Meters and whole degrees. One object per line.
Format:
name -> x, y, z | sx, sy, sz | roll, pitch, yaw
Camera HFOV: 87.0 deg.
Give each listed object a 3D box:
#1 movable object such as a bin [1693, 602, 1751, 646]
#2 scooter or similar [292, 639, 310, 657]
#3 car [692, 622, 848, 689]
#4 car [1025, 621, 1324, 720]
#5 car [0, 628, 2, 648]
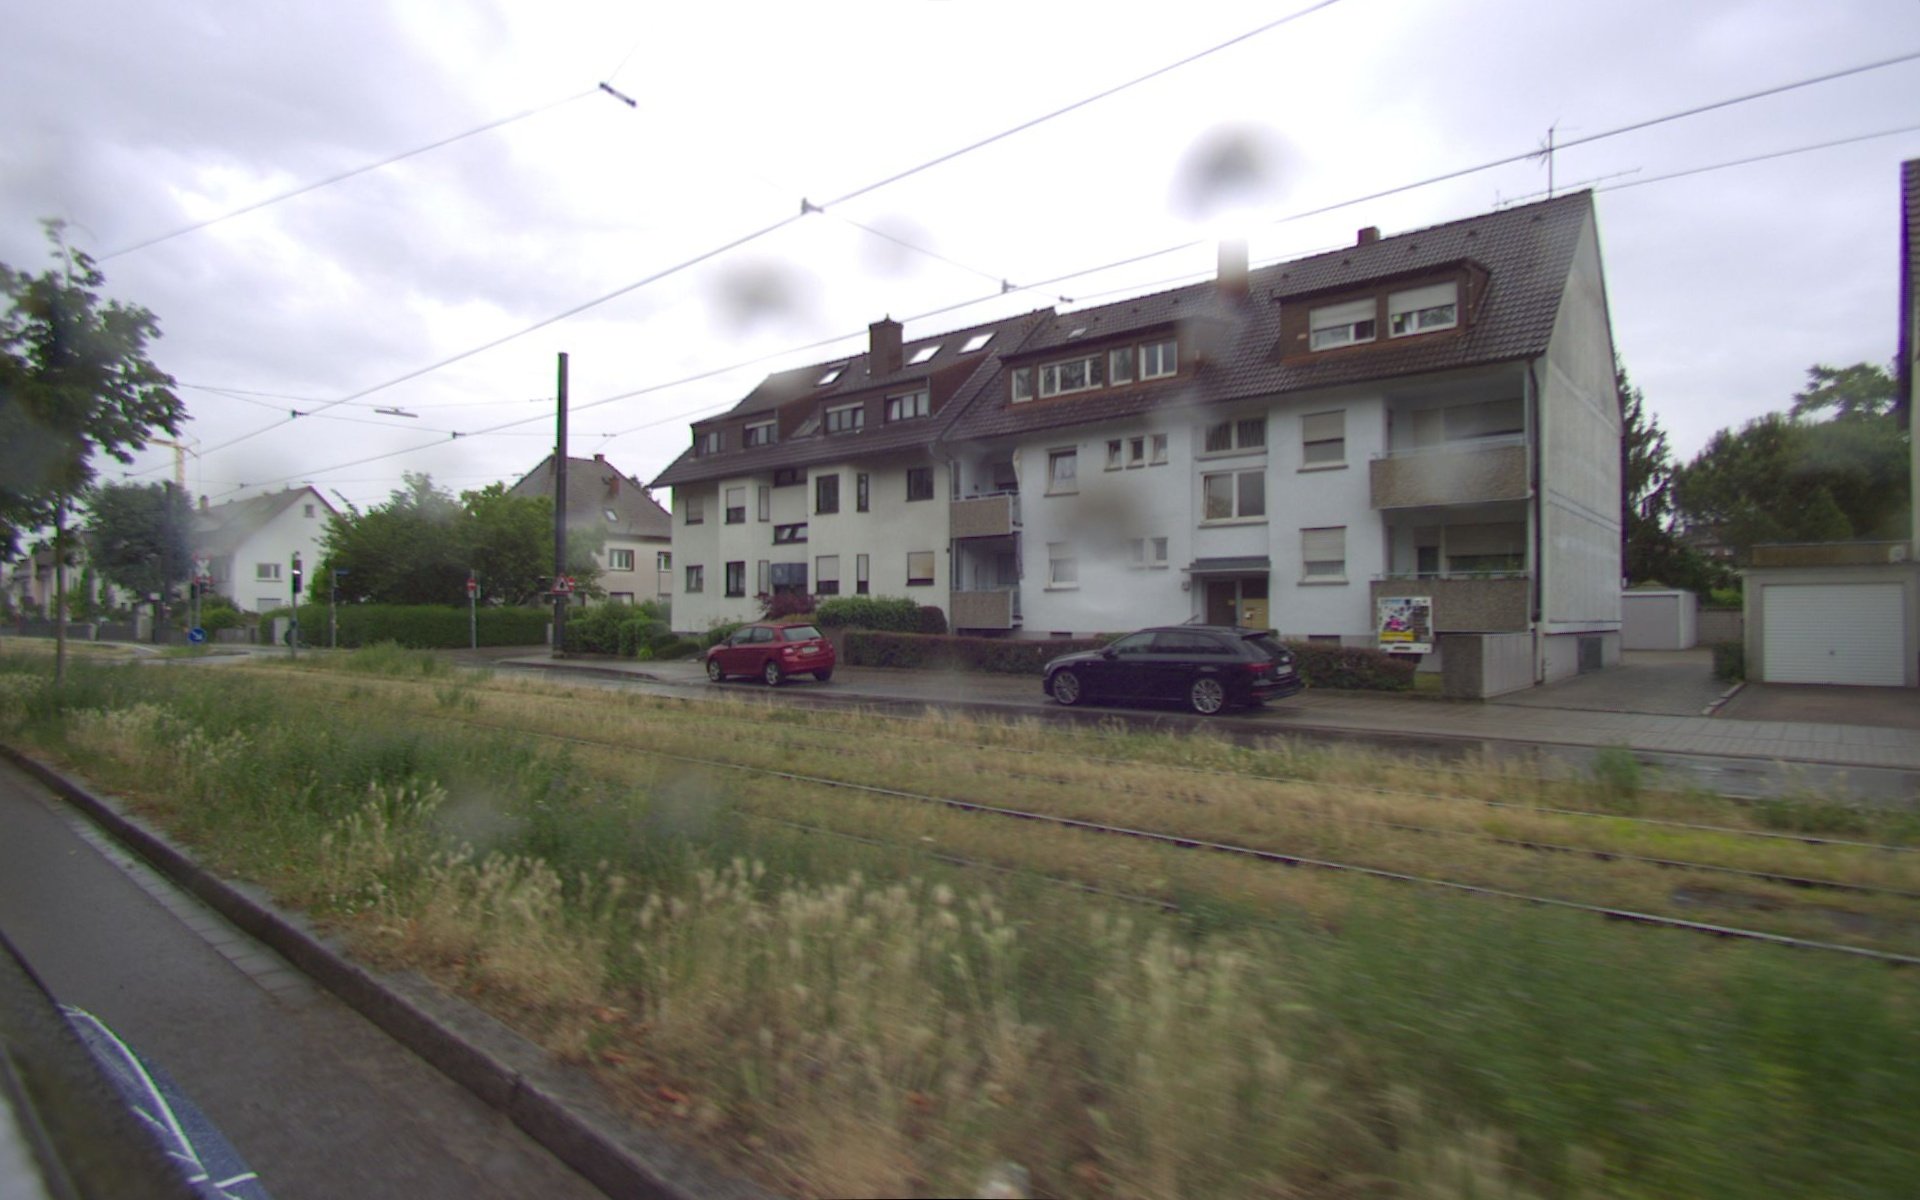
movable object such as a bin -> 32.730, 0.999, 43.465 | 1.917, 1.789, 2.122 | 0, 1, 38
scooter or similar -> -34.237, 2.506, 52.569 | 1.256, 0.917, 0.343 | -1, -2, 36
car -> -4.780, 1.323, 25.139 | 4.001, 1.468, 1.778 | -2, 0, 44
car -> 3.610, 1.134, 17.658 | 4.762, 1.421, 1.972 | -2, 0, 44
car -> -97.082, 3.792, 100.605 | 3.991, 2.029, 1.976 | -1, -2, 36
